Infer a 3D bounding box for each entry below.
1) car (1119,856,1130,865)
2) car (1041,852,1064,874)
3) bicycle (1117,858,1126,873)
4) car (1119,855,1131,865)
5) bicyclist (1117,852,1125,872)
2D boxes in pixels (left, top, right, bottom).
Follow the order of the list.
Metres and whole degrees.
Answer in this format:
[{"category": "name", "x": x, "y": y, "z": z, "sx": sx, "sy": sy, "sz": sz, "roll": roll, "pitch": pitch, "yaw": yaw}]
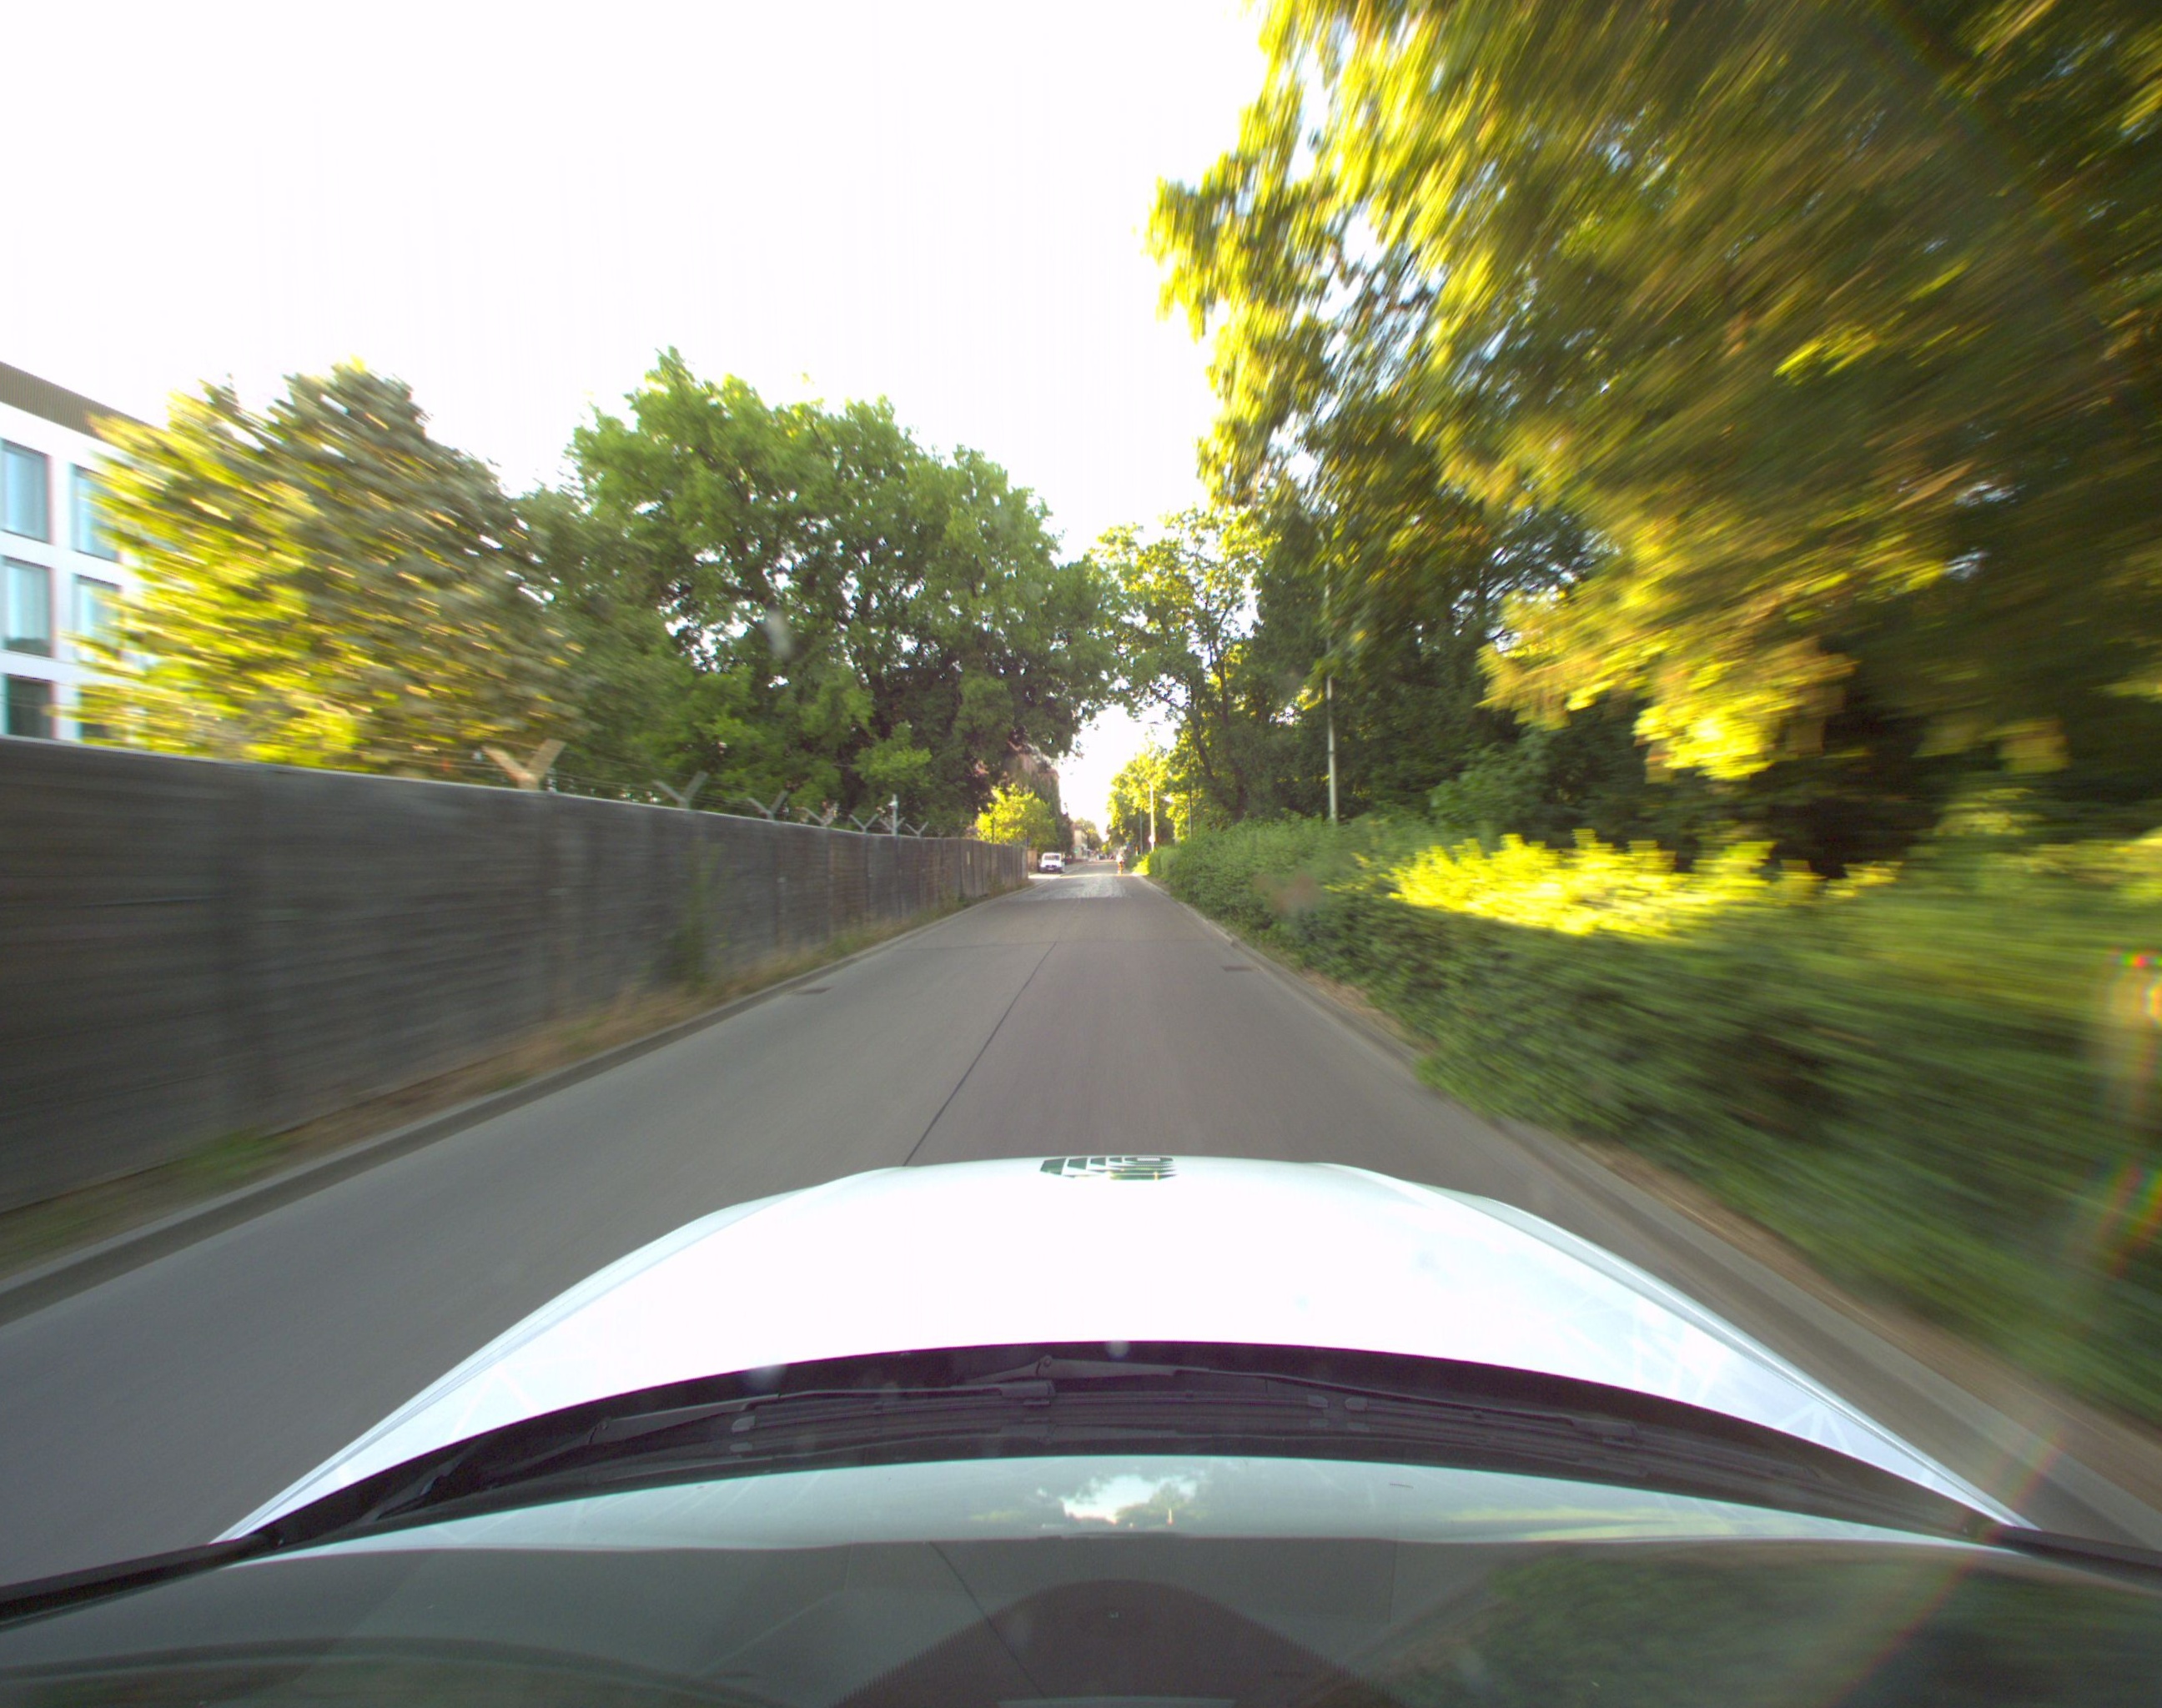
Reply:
[{"category": "car", "x": 7.929, "y": 1.231, "z": 148.595, "sx": 1.710, "sy": 1.538, "sz": 4.047, "roll": -5, "pitch": -1, "yaw": 0}, {"category": "car", "x": -2.623, "y": 0.850, "z": 75.592, "sx": 1.876, "sy": 2.014, "sz": 5.224, "roll": 0, "pitch": -1, "yaw": 0}, {"category": "bicycle", "x": 3.311, "y": 0.970, "z": 67.340, "sx": 0.636, "sy": 1.193, "sz": 1.875, "roll": -1, "pitch": 0, "yaw": 0}, {"category": "car", "x": 7.270, "y": 1.047, "z": 135.019, "sx": 1.680, "sy": 1.447, "sz": 3.671, "roll": -5, "pitch": -1, "yaw": 0}, {"category": "bicyclist", "x": 3.309, "y": 0.651, "z": 67.533, "sx": 0.637, "sy": 1.667, "sz": 0.842, "roll": -1, "pitch": -1, "yaw": 0}]
